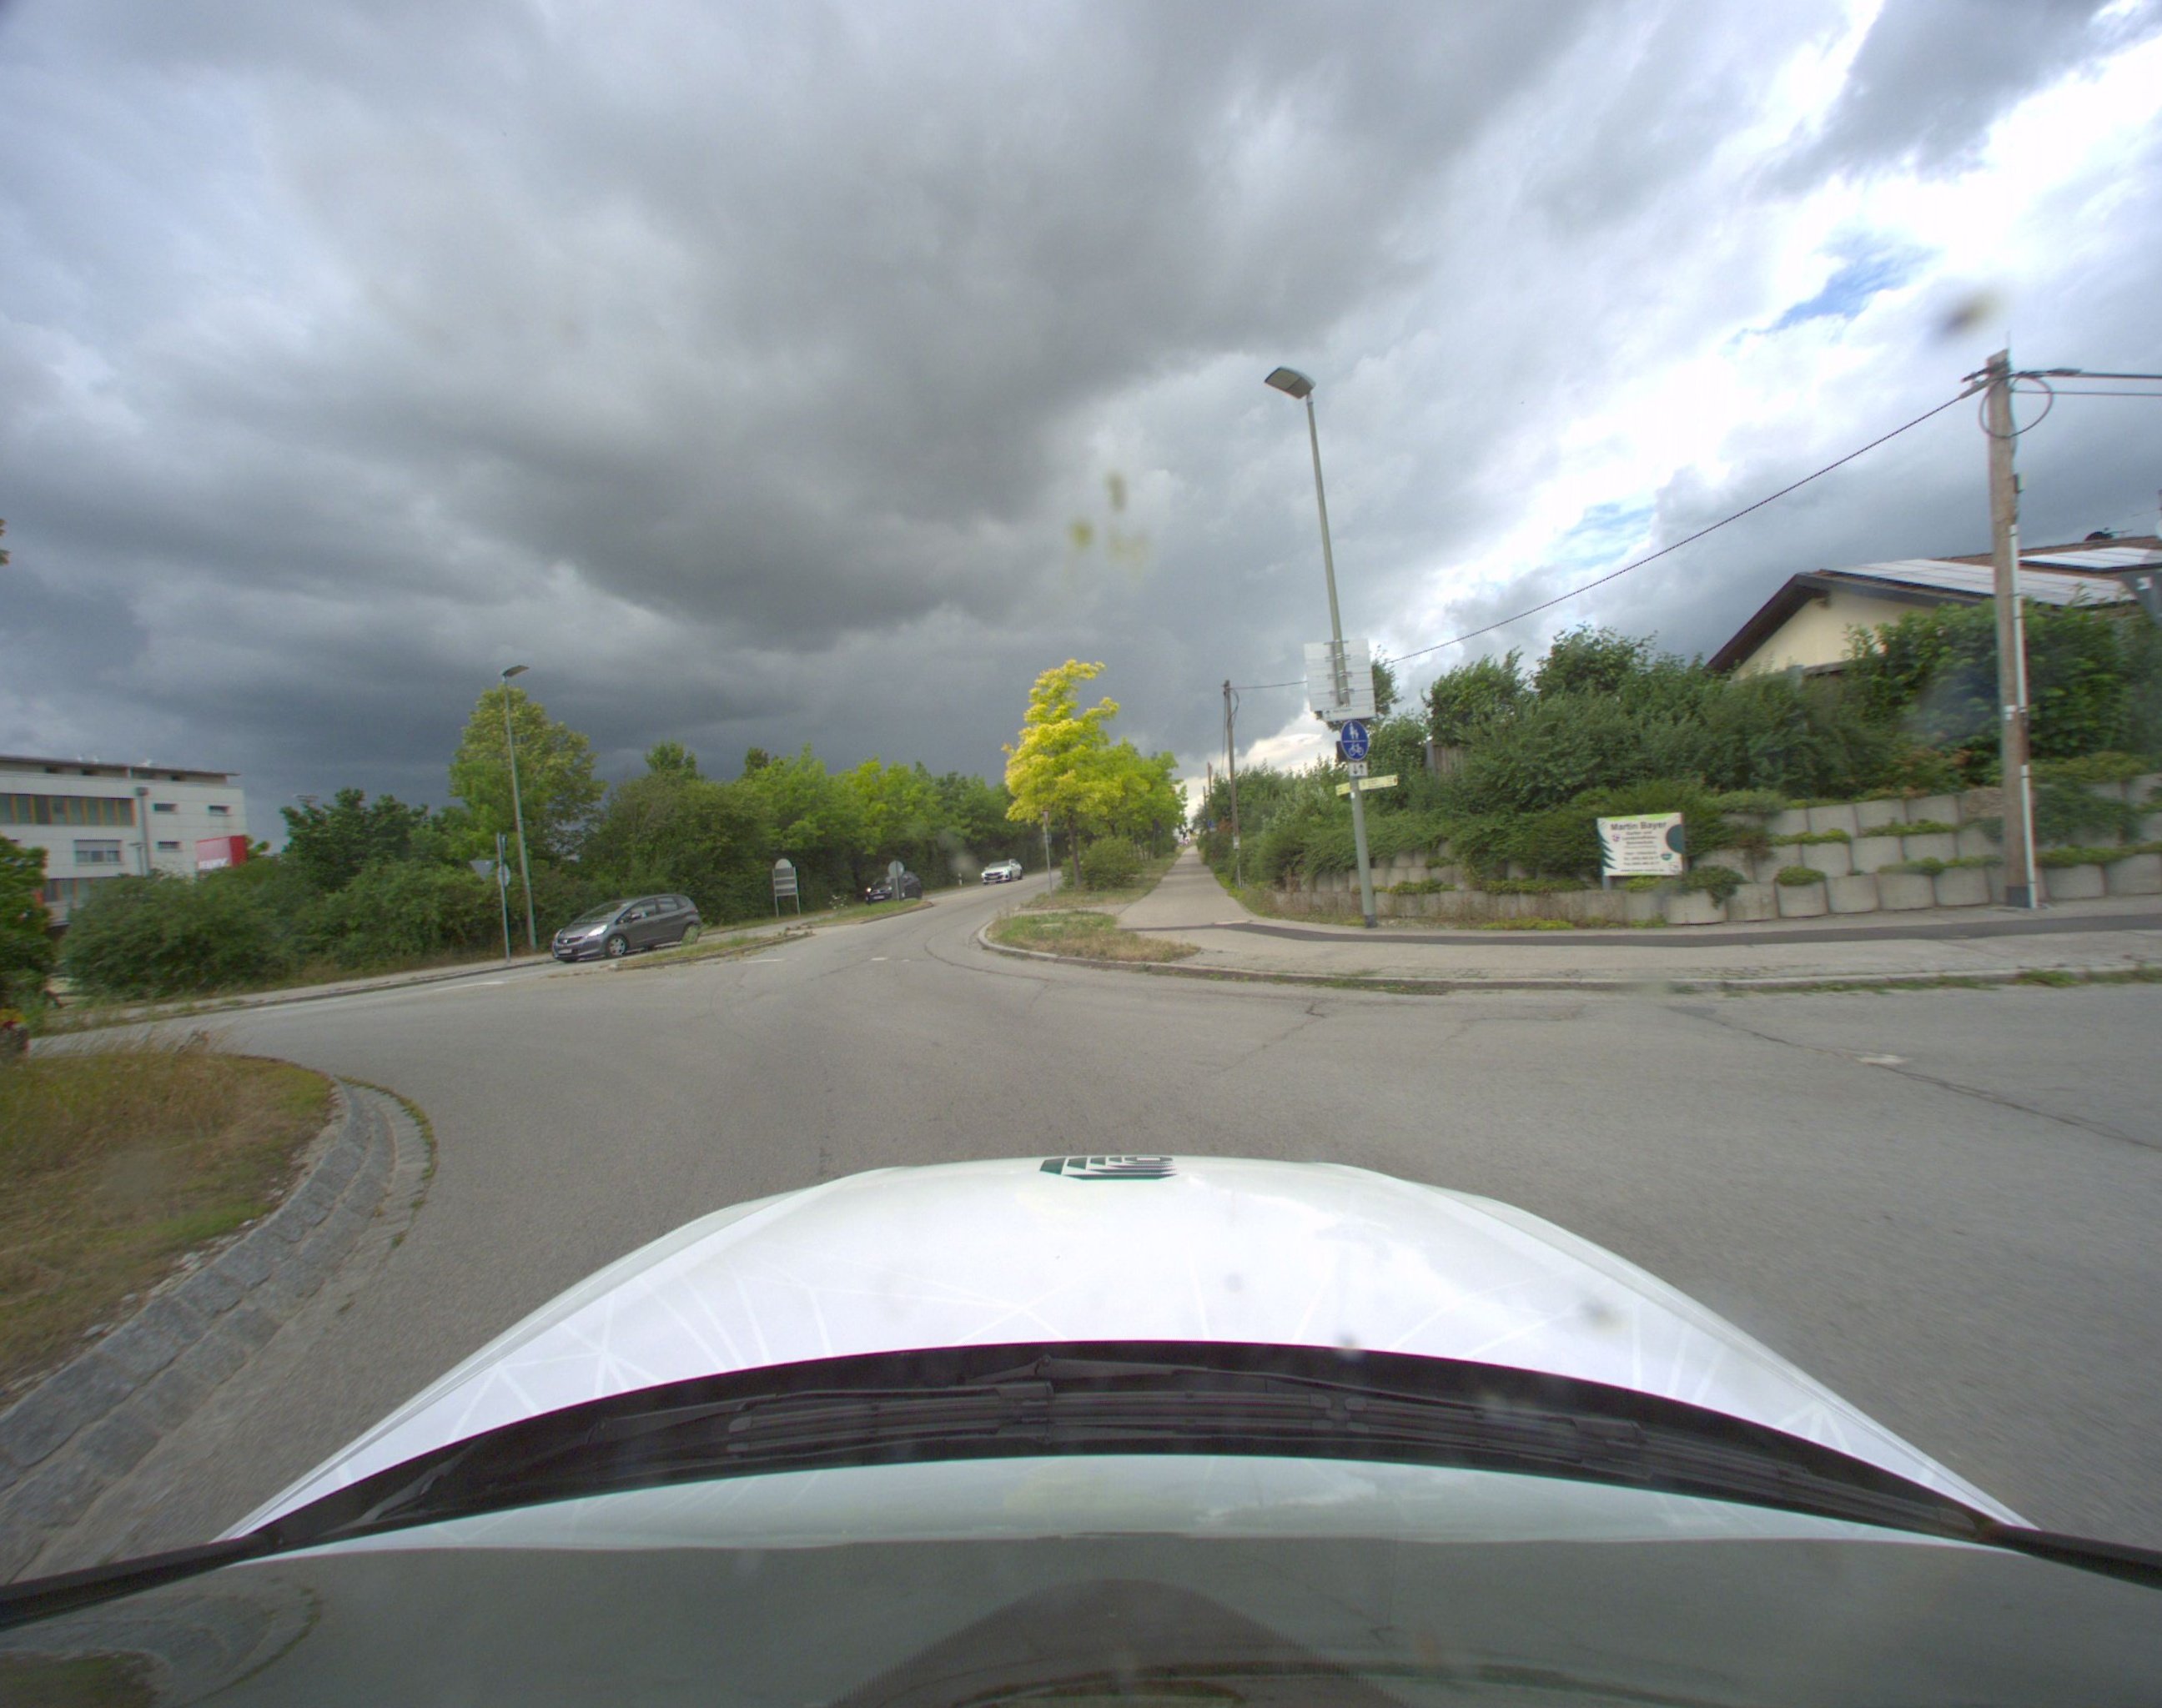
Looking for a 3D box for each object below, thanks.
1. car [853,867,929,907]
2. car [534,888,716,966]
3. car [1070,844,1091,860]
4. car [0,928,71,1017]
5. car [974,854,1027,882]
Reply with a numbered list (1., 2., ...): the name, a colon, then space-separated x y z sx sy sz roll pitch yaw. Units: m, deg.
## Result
1. car: -8.728 1.474 37.765 1.670 1.454 4.016 -4 1 13
2. car: -11.908 1.861 21.615 1.669 1.422 4.019 -7 1 18
3. car: -0.023 -0.221 92.147 1.986 1.601 4.667 -8 0 2
4. car: -27.815 3.117 19.681 1.974 2.013 4.027 -5 1 35
5. car: -5.348 0.922 54.894 2.199 1.454 4.958 -4 1 11
